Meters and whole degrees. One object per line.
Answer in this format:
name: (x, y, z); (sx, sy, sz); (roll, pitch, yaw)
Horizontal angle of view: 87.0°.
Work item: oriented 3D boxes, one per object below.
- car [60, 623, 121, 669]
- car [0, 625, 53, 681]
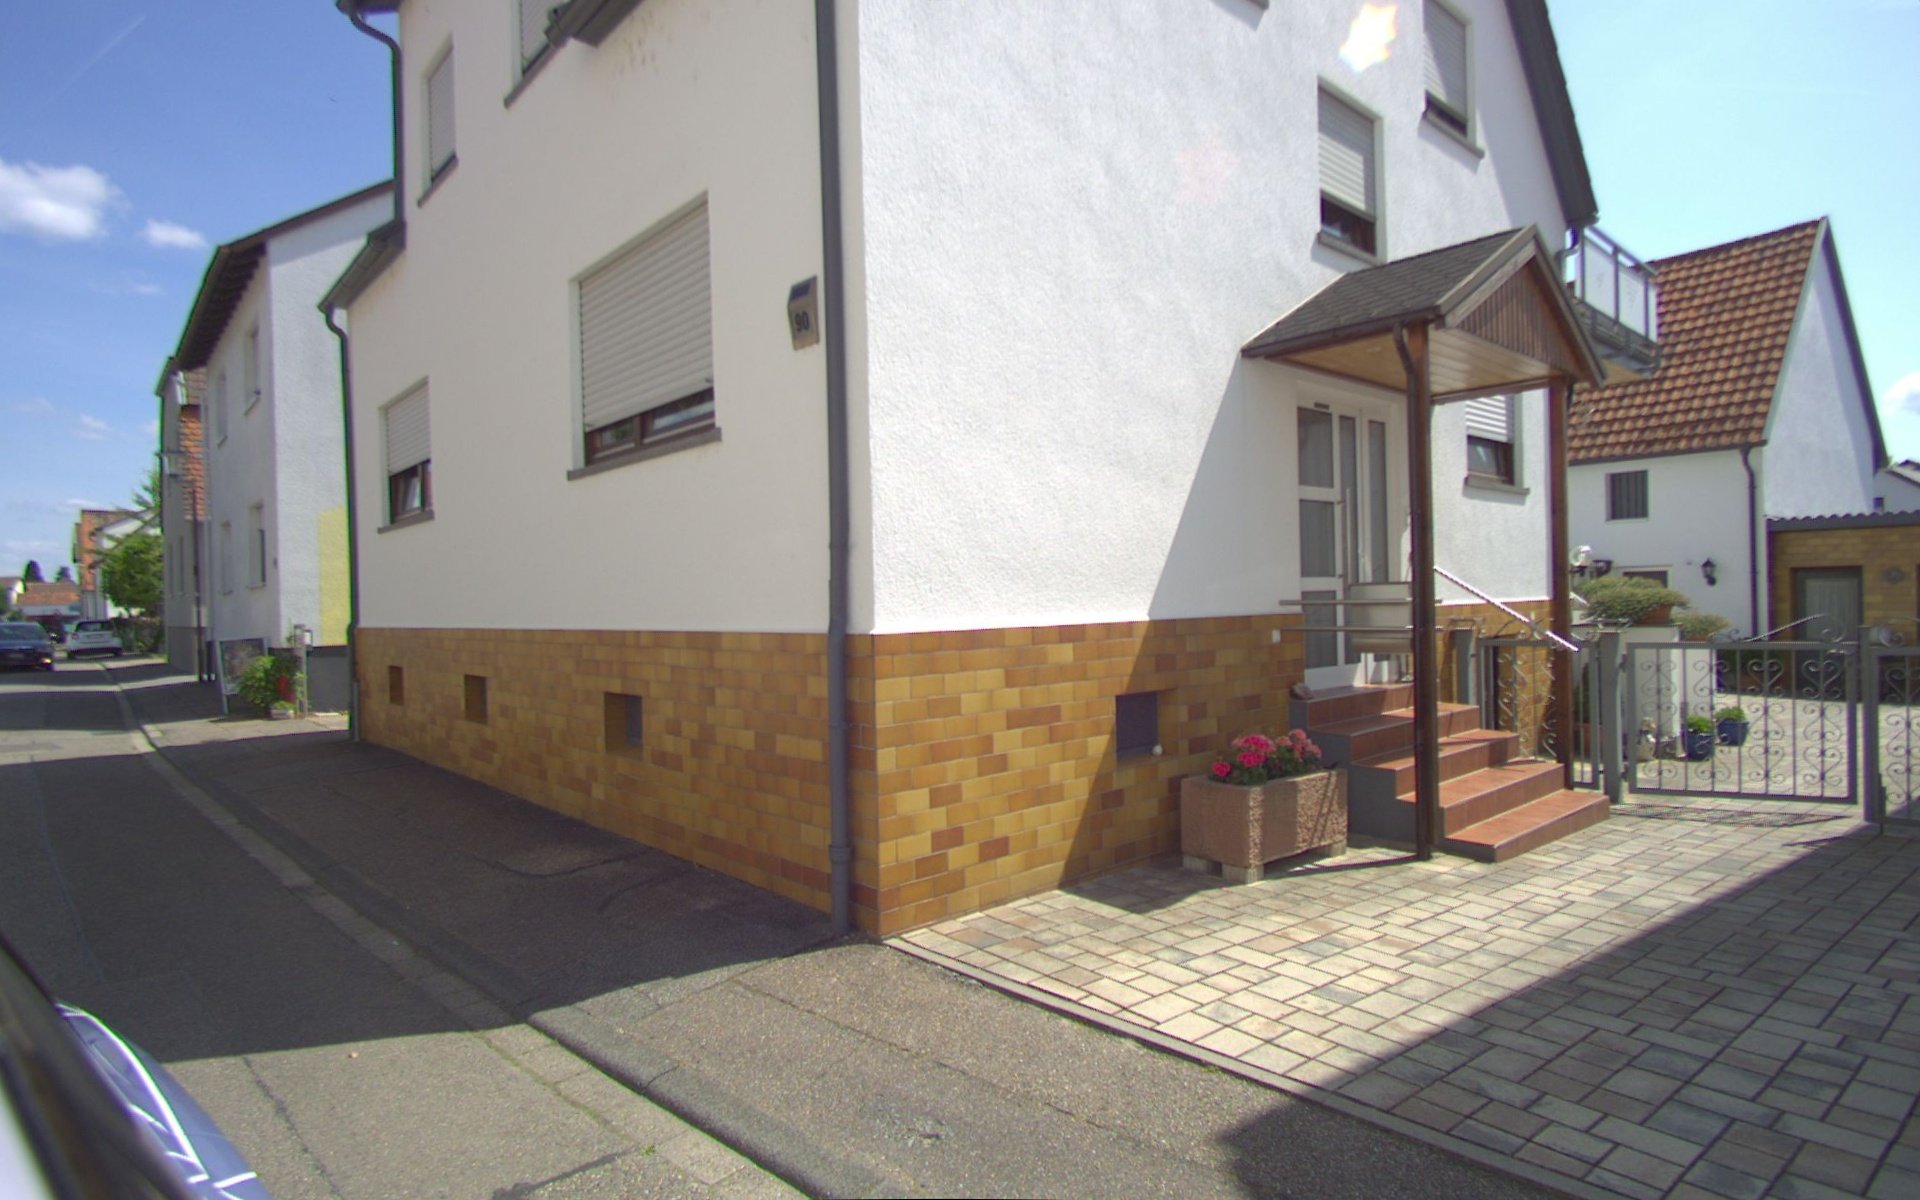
car: (-35.560, 1.828, 41.354); (1.759, 1.621, 4.005); (-4, 2, -42)
car: (-28.673, 1.568, 30.663); (1.759, 1.547, 4.716); (0, 0, -42)
